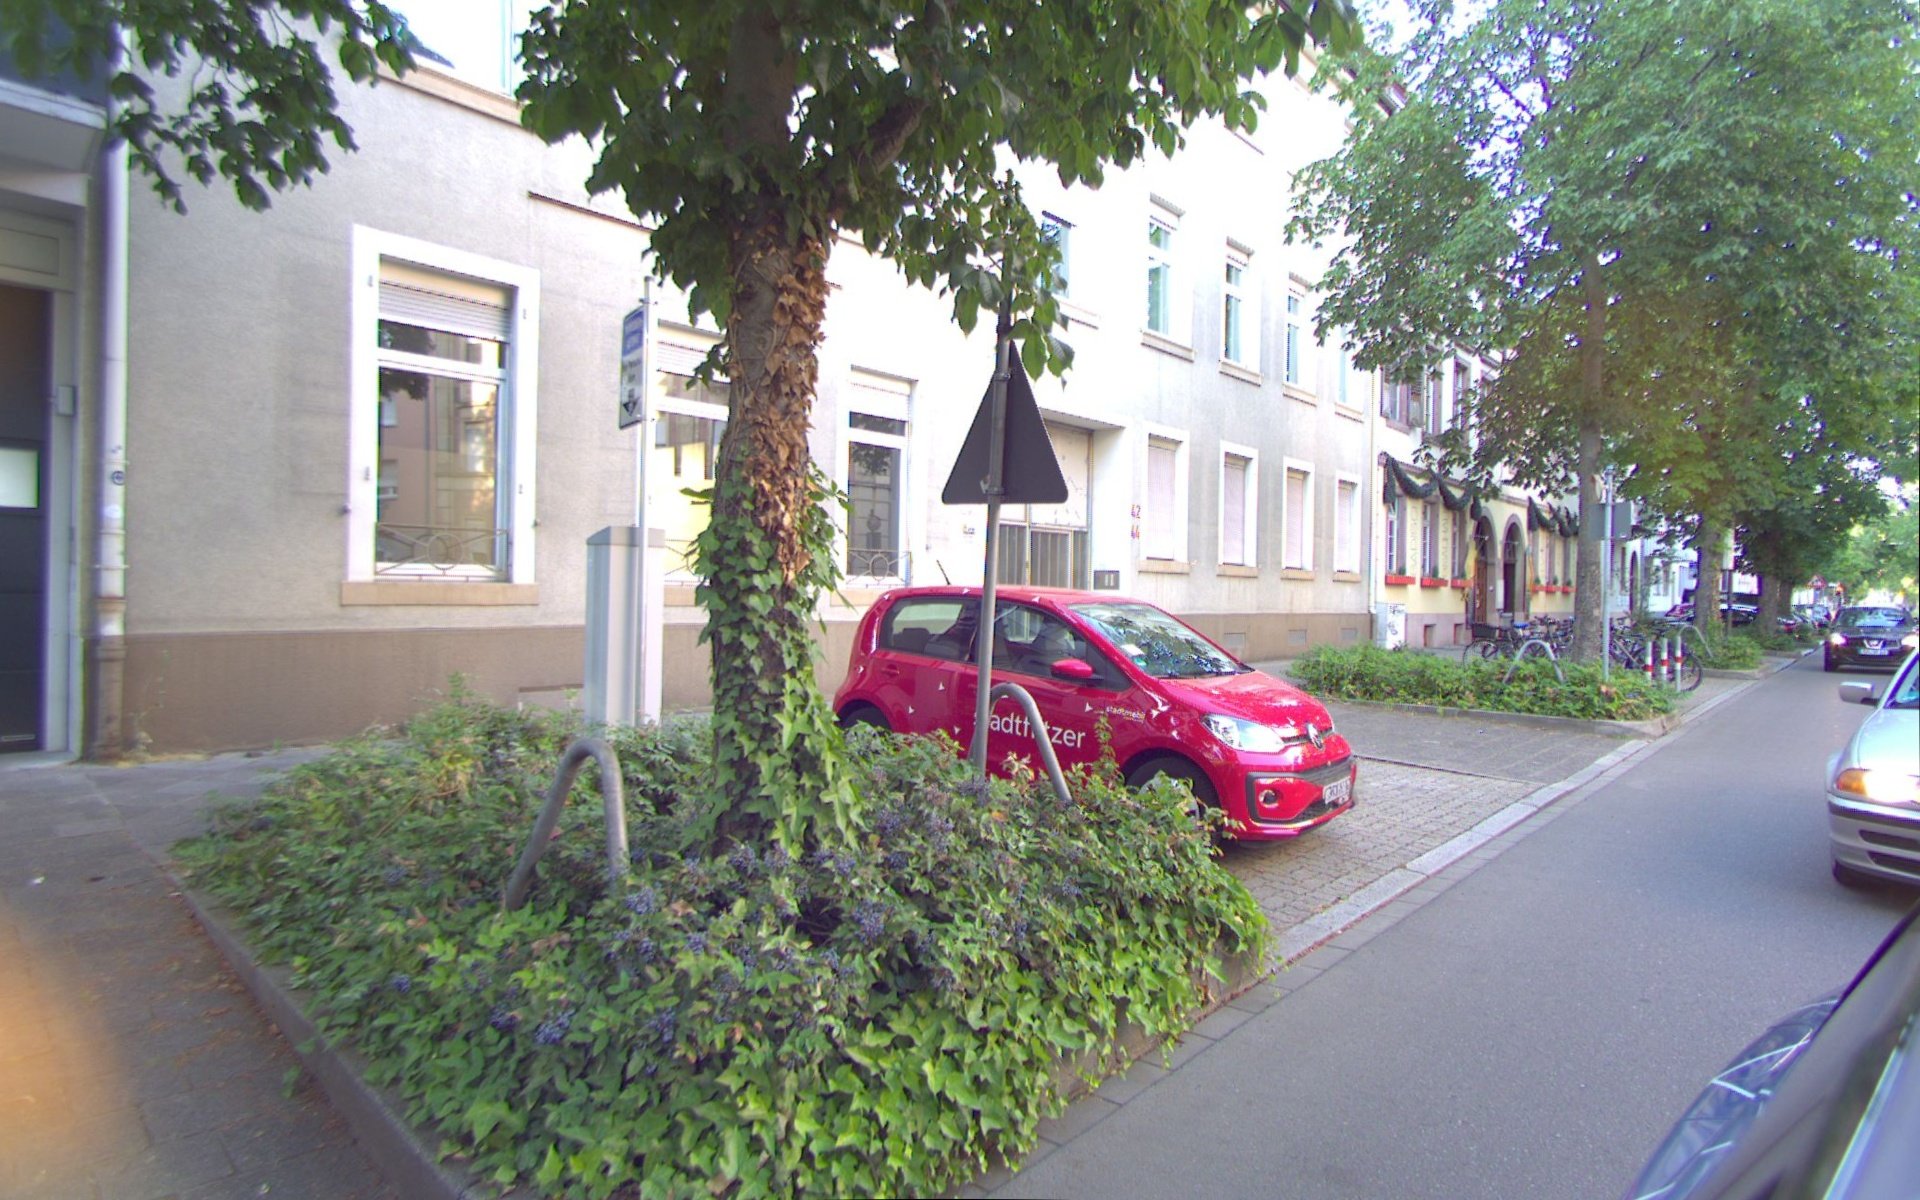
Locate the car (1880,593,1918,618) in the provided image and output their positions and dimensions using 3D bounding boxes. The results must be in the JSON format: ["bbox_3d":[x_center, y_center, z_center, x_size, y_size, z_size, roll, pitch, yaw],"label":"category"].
[{"bbox_3d":[62.245,0.369,67.088,1.801,1.571,3.937,2,1,44],"label":"car"}]

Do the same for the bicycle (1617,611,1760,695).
[{"bbox_3d":[11.852,0.829,16.533,1.835,1.242,0.529,2,1,33],"label":"bicycle"}]

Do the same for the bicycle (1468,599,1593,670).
[{"bbox_3d":[10.931,0.636,19.426,2.017,1.242,0.529,2,1,37],"label":"bicycle"}]

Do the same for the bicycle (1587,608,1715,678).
[{"bbox_3d":[13.470,0.807,19.766,2.019,1.242,0.528,2,1,39],"label":"bicycle"}]

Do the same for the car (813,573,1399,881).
[{"bbox_3d":[0.807,0.589,6.811,3.608,1.495,1.639,2,1,42],"label":"car"}]

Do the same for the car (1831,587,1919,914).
[{"bbox_3d":[6.296,0.686,5.530,4.358,1.460,1.710,0,1,-41],"label":"car"}]

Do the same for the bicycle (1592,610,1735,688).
[{"bbox_3d":[12.355,0.831,17.819,2.019,1.242,0.528,2,1,39],"label":"bicycle"}]

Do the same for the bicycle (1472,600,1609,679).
[{"bbox_3d":[10.084,0.658,17.622,2.014,1.242,0.529,2,1,33],"label":"bicycle"}]

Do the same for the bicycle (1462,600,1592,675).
[{"bbox_3d":[10.299,0.649,18.431,2.014,1.242,0.529,2,1,33],"label":"bicycle"}]

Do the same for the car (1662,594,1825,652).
[{"bbox_3d":[26.612,0.726,34.453,4.232,1.761,1.715,2,1,43],"label":"car"}]

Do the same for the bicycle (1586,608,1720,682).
[{"bbox_3d":[12.990,0.816,19.013,2.019,1.242,0.528,2,1,39],"label":"bicycle"}]

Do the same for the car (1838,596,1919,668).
[{"bbox_3d":[22.400,0.714,24.246,1.802,1.571,3.935,2,1,45],"label":"car"}]
